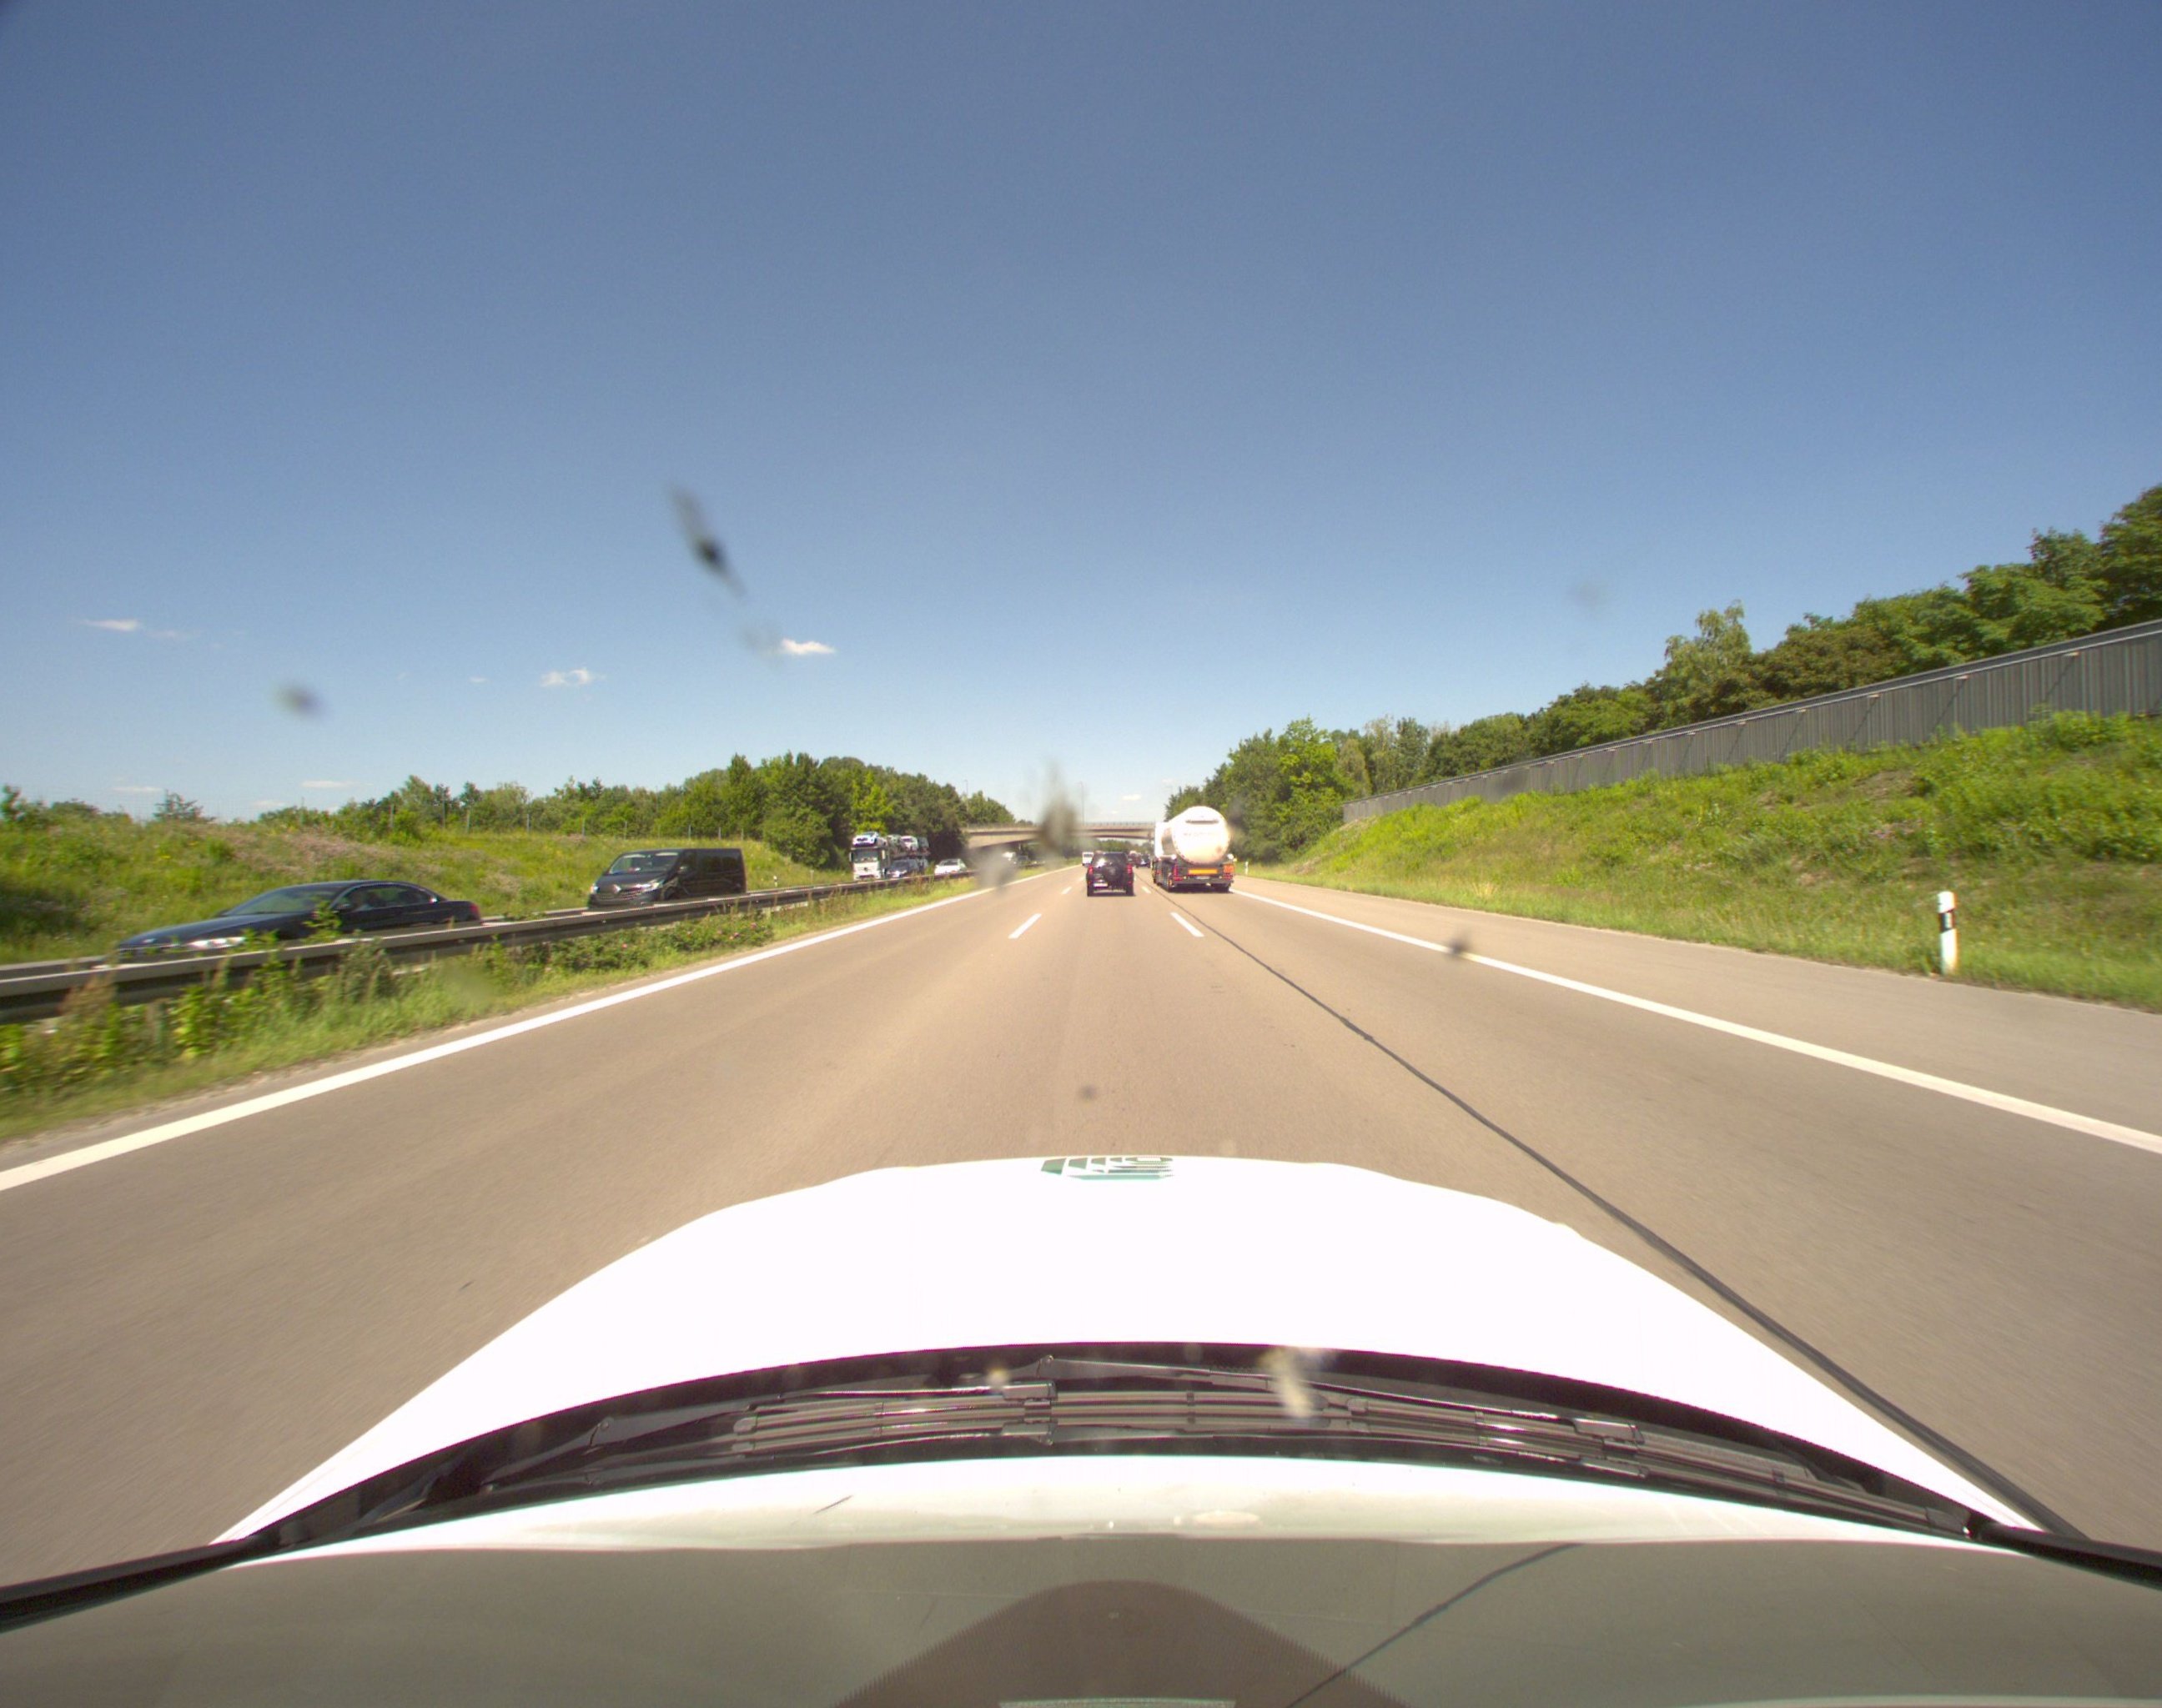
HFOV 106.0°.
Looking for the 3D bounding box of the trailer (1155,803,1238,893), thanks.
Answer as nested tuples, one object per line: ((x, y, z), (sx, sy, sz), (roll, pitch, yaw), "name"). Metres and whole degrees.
((4.881, -0.196, 36.370), (2.637, 3.390, 11.159), (-1, 0, 3), "trailer")

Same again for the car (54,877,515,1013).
((-11.247, 1.154, 12.224), (1.867, 1.439, 5.020), (-2, 0, 1), "car")

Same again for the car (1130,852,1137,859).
((14.178, 0.447, 219.658), (1.806, 1.746, 4.000), (-2, 0, 1), "car")

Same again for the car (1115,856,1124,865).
((8.405, 1.406, 177.807), (1.986, 1.750, 4.207), (-2, 0, 2), "car")

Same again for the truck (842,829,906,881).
((-17.340, 0.094, 68.811), (3.230, 4.050, 7.395), (-2, 0, 0), "truck")

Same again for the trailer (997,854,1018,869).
((-13.404, 1.327, 149.051), (2.721, 2.687, 8.635), (-1, 0, 2), "trailer")

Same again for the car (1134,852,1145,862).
((10.955, 0.610, 153.650), (1.985, 1.779, 4.264), (-2, 0, 3), "car")

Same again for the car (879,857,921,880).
((-13.833, 1.103, 62.600), (1.986, 1.613, 4.583), (-2, 0, 2), "car")

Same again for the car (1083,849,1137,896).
((1.102, 0.686, 31.427), (1.899, 1.665, 4.001), (-1, 0, 1), "car")

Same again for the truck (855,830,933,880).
((-17.271, 0.086, 76.864), (3.201, 4.050, 16.674), (-2, 0, 1), "truck")

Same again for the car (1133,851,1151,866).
((7.330, 0.525, 98.012), (1.986, 1.684, 4.001), (-1, -1, 2), "car")

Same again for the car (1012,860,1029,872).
((-8.043, 1.617, 108.546), (1.842, 1.574, 4.424), (-2, -1, 2), "car")

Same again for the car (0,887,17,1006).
((-14.816, 1.208, 7.926), (1.986, 1.509, 5.209), (-2, 0, 1), "car")

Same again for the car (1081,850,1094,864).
((1.018, 0.477, 124.673), (1.987, 2.013, 4.950), (-2, 0, 1), "car")

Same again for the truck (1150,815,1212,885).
((5.094, -0.180, 42.459), (2.627, 3.375, 6.491), (0, 0, 2), "truck")

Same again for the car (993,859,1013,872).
((-8.704, 1.289, 91.349), (1.709, 1.390, 4.002), (-2, 0, 2), "car")

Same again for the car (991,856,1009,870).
((-11.153, 1.175, 112.100), (1.807, 1.809, 4.383), (-2, 0, 1), "car")

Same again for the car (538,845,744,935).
((-11.076, 0.815, 21.161), (2.082, 1.945, 5.691), (-2, 0, 1), "car")

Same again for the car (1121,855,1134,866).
((6.764, 0.991, 119.543), (1.834, 1.611, 4.003), (-2, -1, 3), "car")

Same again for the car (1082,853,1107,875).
((1.103, 0.862, 69.856), (1.987, 1.706, 4.335), (-2, 0, 0), "car")

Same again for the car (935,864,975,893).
((-9.228, 1.763, 60.045), (1.986, 2.014, 4.916), (-1, -1, 2), "car")
